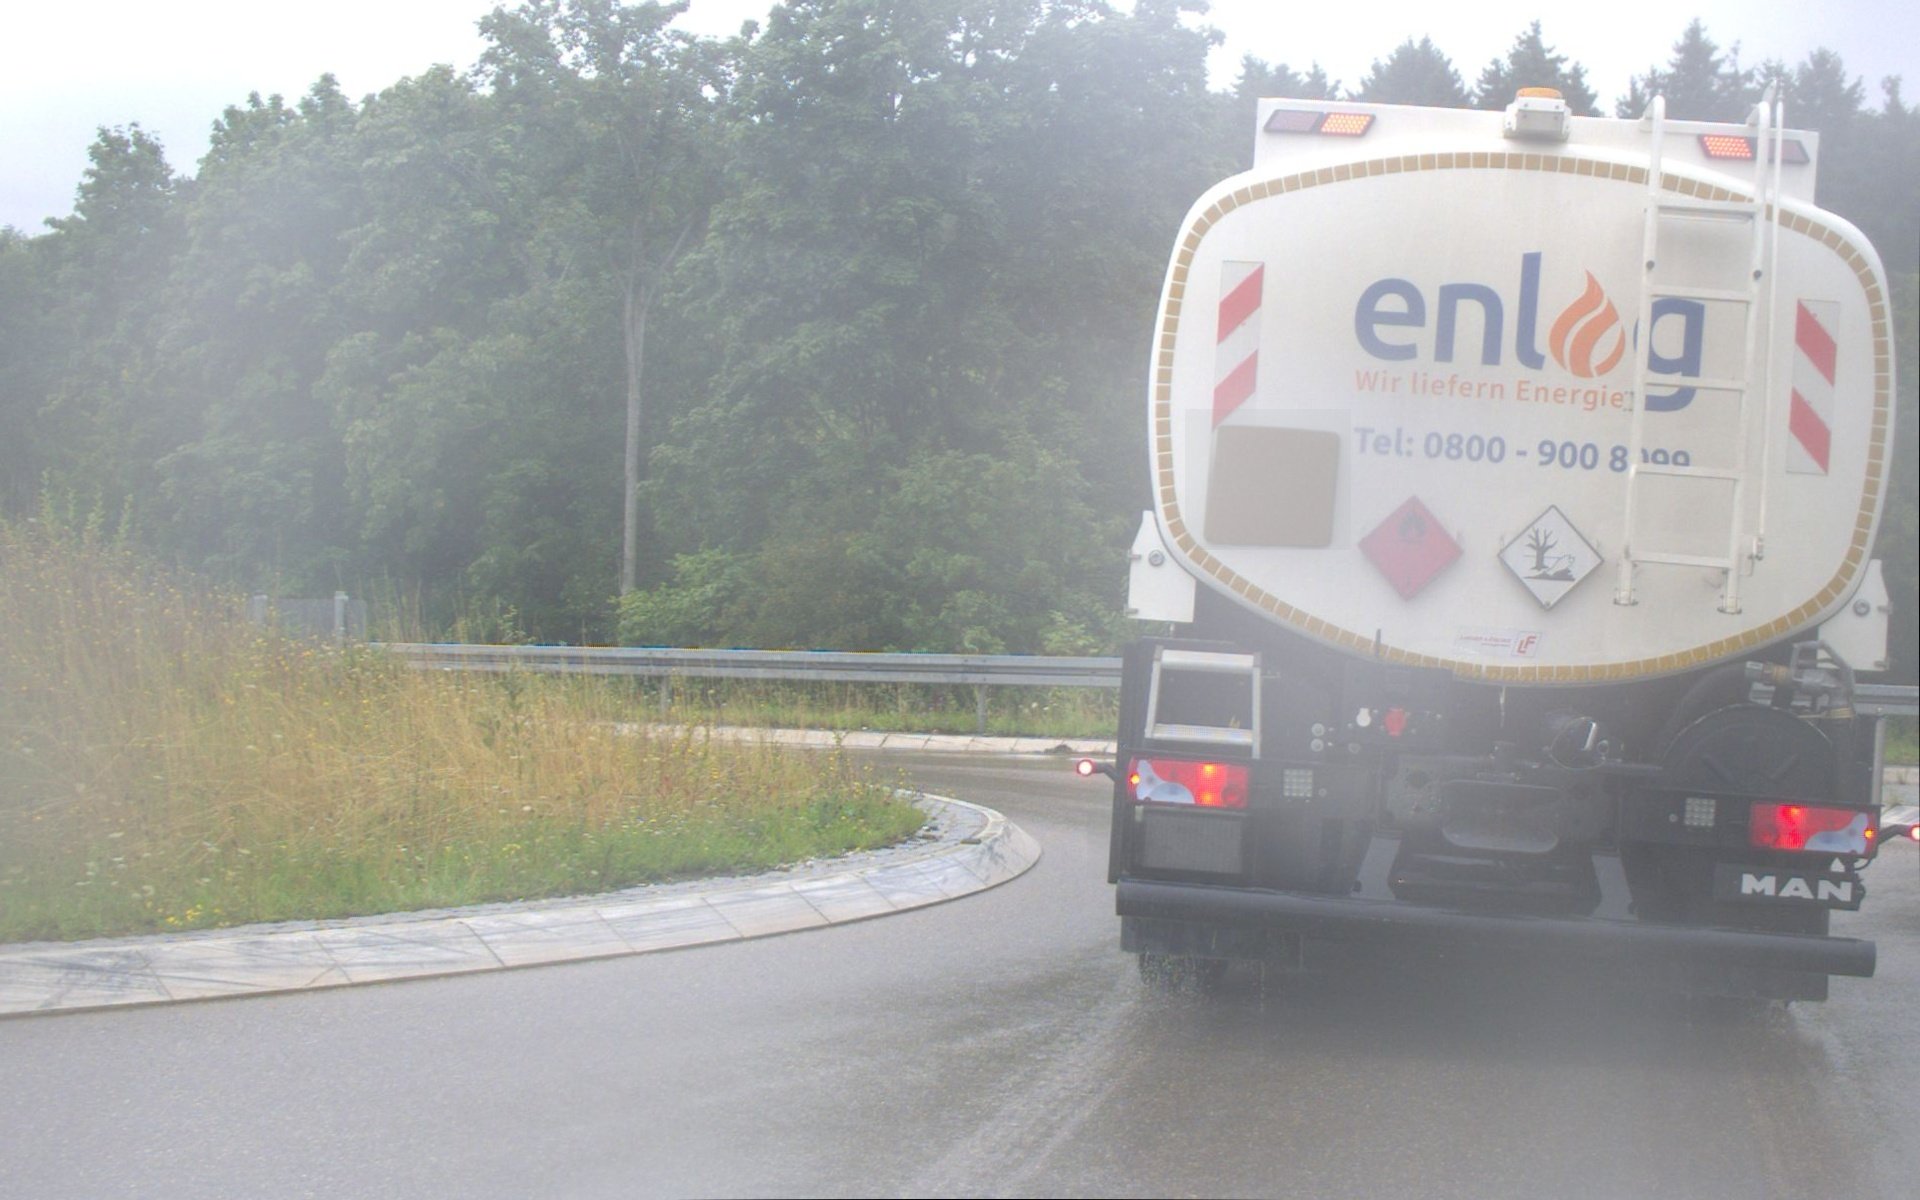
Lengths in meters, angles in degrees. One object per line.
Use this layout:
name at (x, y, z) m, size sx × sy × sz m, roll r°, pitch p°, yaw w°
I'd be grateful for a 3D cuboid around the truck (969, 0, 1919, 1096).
truck at (2.517, -0.411, 15.089) m, size 3.041 × 3.839 × 8.817 m, roll 2°, pitch 0°, yaw 12°
